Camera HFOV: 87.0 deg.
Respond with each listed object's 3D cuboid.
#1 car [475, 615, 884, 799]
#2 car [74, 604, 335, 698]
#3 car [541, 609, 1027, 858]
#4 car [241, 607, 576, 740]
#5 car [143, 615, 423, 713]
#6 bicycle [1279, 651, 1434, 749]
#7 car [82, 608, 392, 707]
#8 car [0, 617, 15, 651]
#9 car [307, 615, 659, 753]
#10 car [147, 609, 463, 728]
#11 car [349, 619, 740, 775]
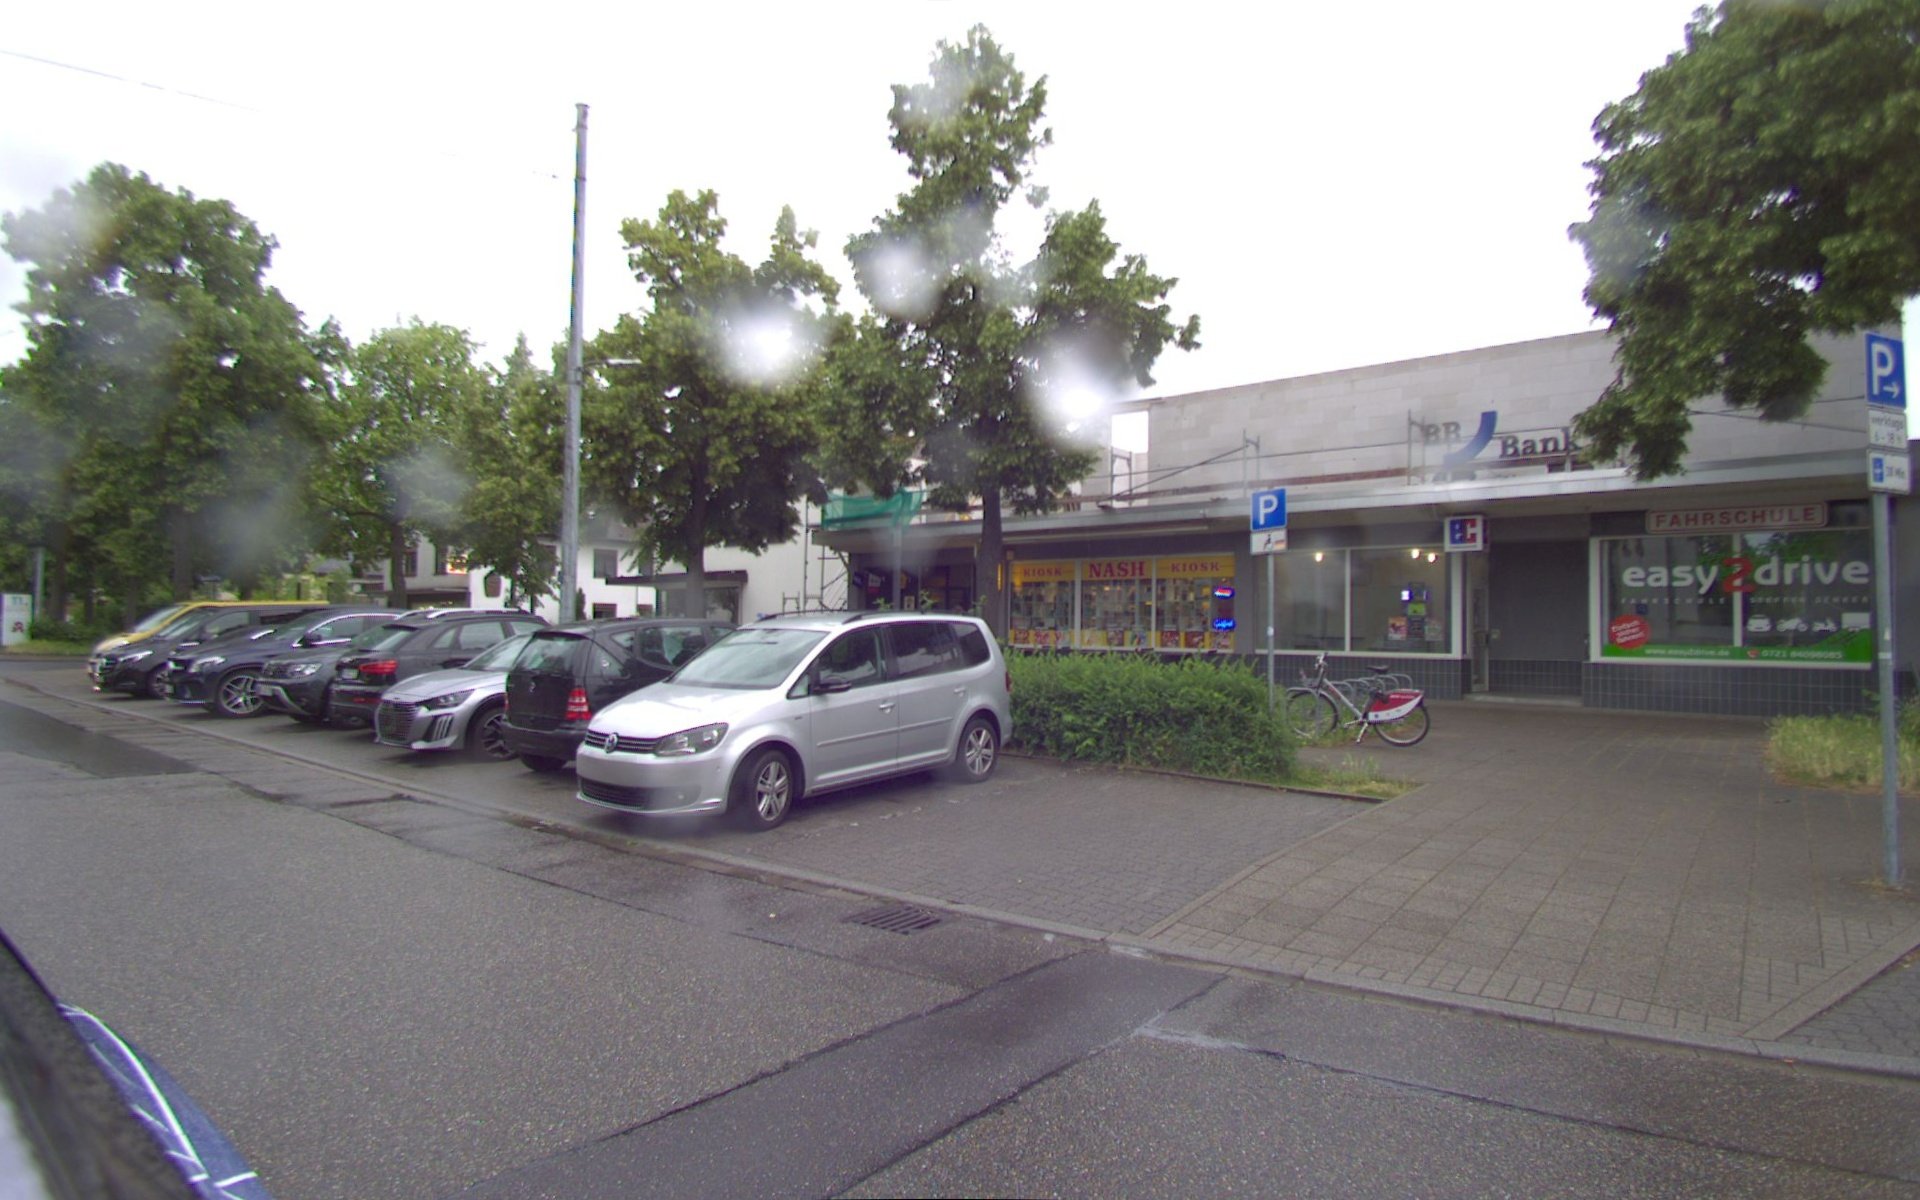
[{"bbox_3d":[-2.861,0.977,11.158,1.633,1.577,4.231,-1,0,38],"label":"car"},{"bbox_3d":[-17.422,1.081,23.568,1.713,1.973,4.600,-1,0,38],"label":"car"},{"bbox_3d":[-1.296,0.917,9.013,1.713,1.647,4.231,-1,0,38],"label":"car"},{"bbox_3d":[-8.337,0.992,15.639,1.713,1.740,4.231,-1,0,38],"label":"car"},{"bbox_3d":[-13.038,1.137,19.730,1.713,1.639,4.231,-1,0,38],"label":"car"},{"bbox_3d":[4.815,1.197,12.345,1.739,1.115,0.316,-1,0,25],"label":"bicycle"},{"bbox_3d":[-15.148,1.103,21.523,1.713,1.813,5.114,-1,0,38],"label":"car"},{"bbox_3d":[-49.644,1.734,50.092,1.997,1.698,3.950,-1,0,37],"label":"car"},{"bbox_3d":[-6.571,1.039,14.361,1.713,1.607,4.231,-1,0,38],"label":"car"},{"bbox_3d":[-10.998,1.035,17.272,1.713,1.740,4.231,-1,0,38],"label":"car"},{"bbox_3d":[-4.957,1.035,12.604,1.713,1.544,4.231,-1,0,38],"label":"car"}]
